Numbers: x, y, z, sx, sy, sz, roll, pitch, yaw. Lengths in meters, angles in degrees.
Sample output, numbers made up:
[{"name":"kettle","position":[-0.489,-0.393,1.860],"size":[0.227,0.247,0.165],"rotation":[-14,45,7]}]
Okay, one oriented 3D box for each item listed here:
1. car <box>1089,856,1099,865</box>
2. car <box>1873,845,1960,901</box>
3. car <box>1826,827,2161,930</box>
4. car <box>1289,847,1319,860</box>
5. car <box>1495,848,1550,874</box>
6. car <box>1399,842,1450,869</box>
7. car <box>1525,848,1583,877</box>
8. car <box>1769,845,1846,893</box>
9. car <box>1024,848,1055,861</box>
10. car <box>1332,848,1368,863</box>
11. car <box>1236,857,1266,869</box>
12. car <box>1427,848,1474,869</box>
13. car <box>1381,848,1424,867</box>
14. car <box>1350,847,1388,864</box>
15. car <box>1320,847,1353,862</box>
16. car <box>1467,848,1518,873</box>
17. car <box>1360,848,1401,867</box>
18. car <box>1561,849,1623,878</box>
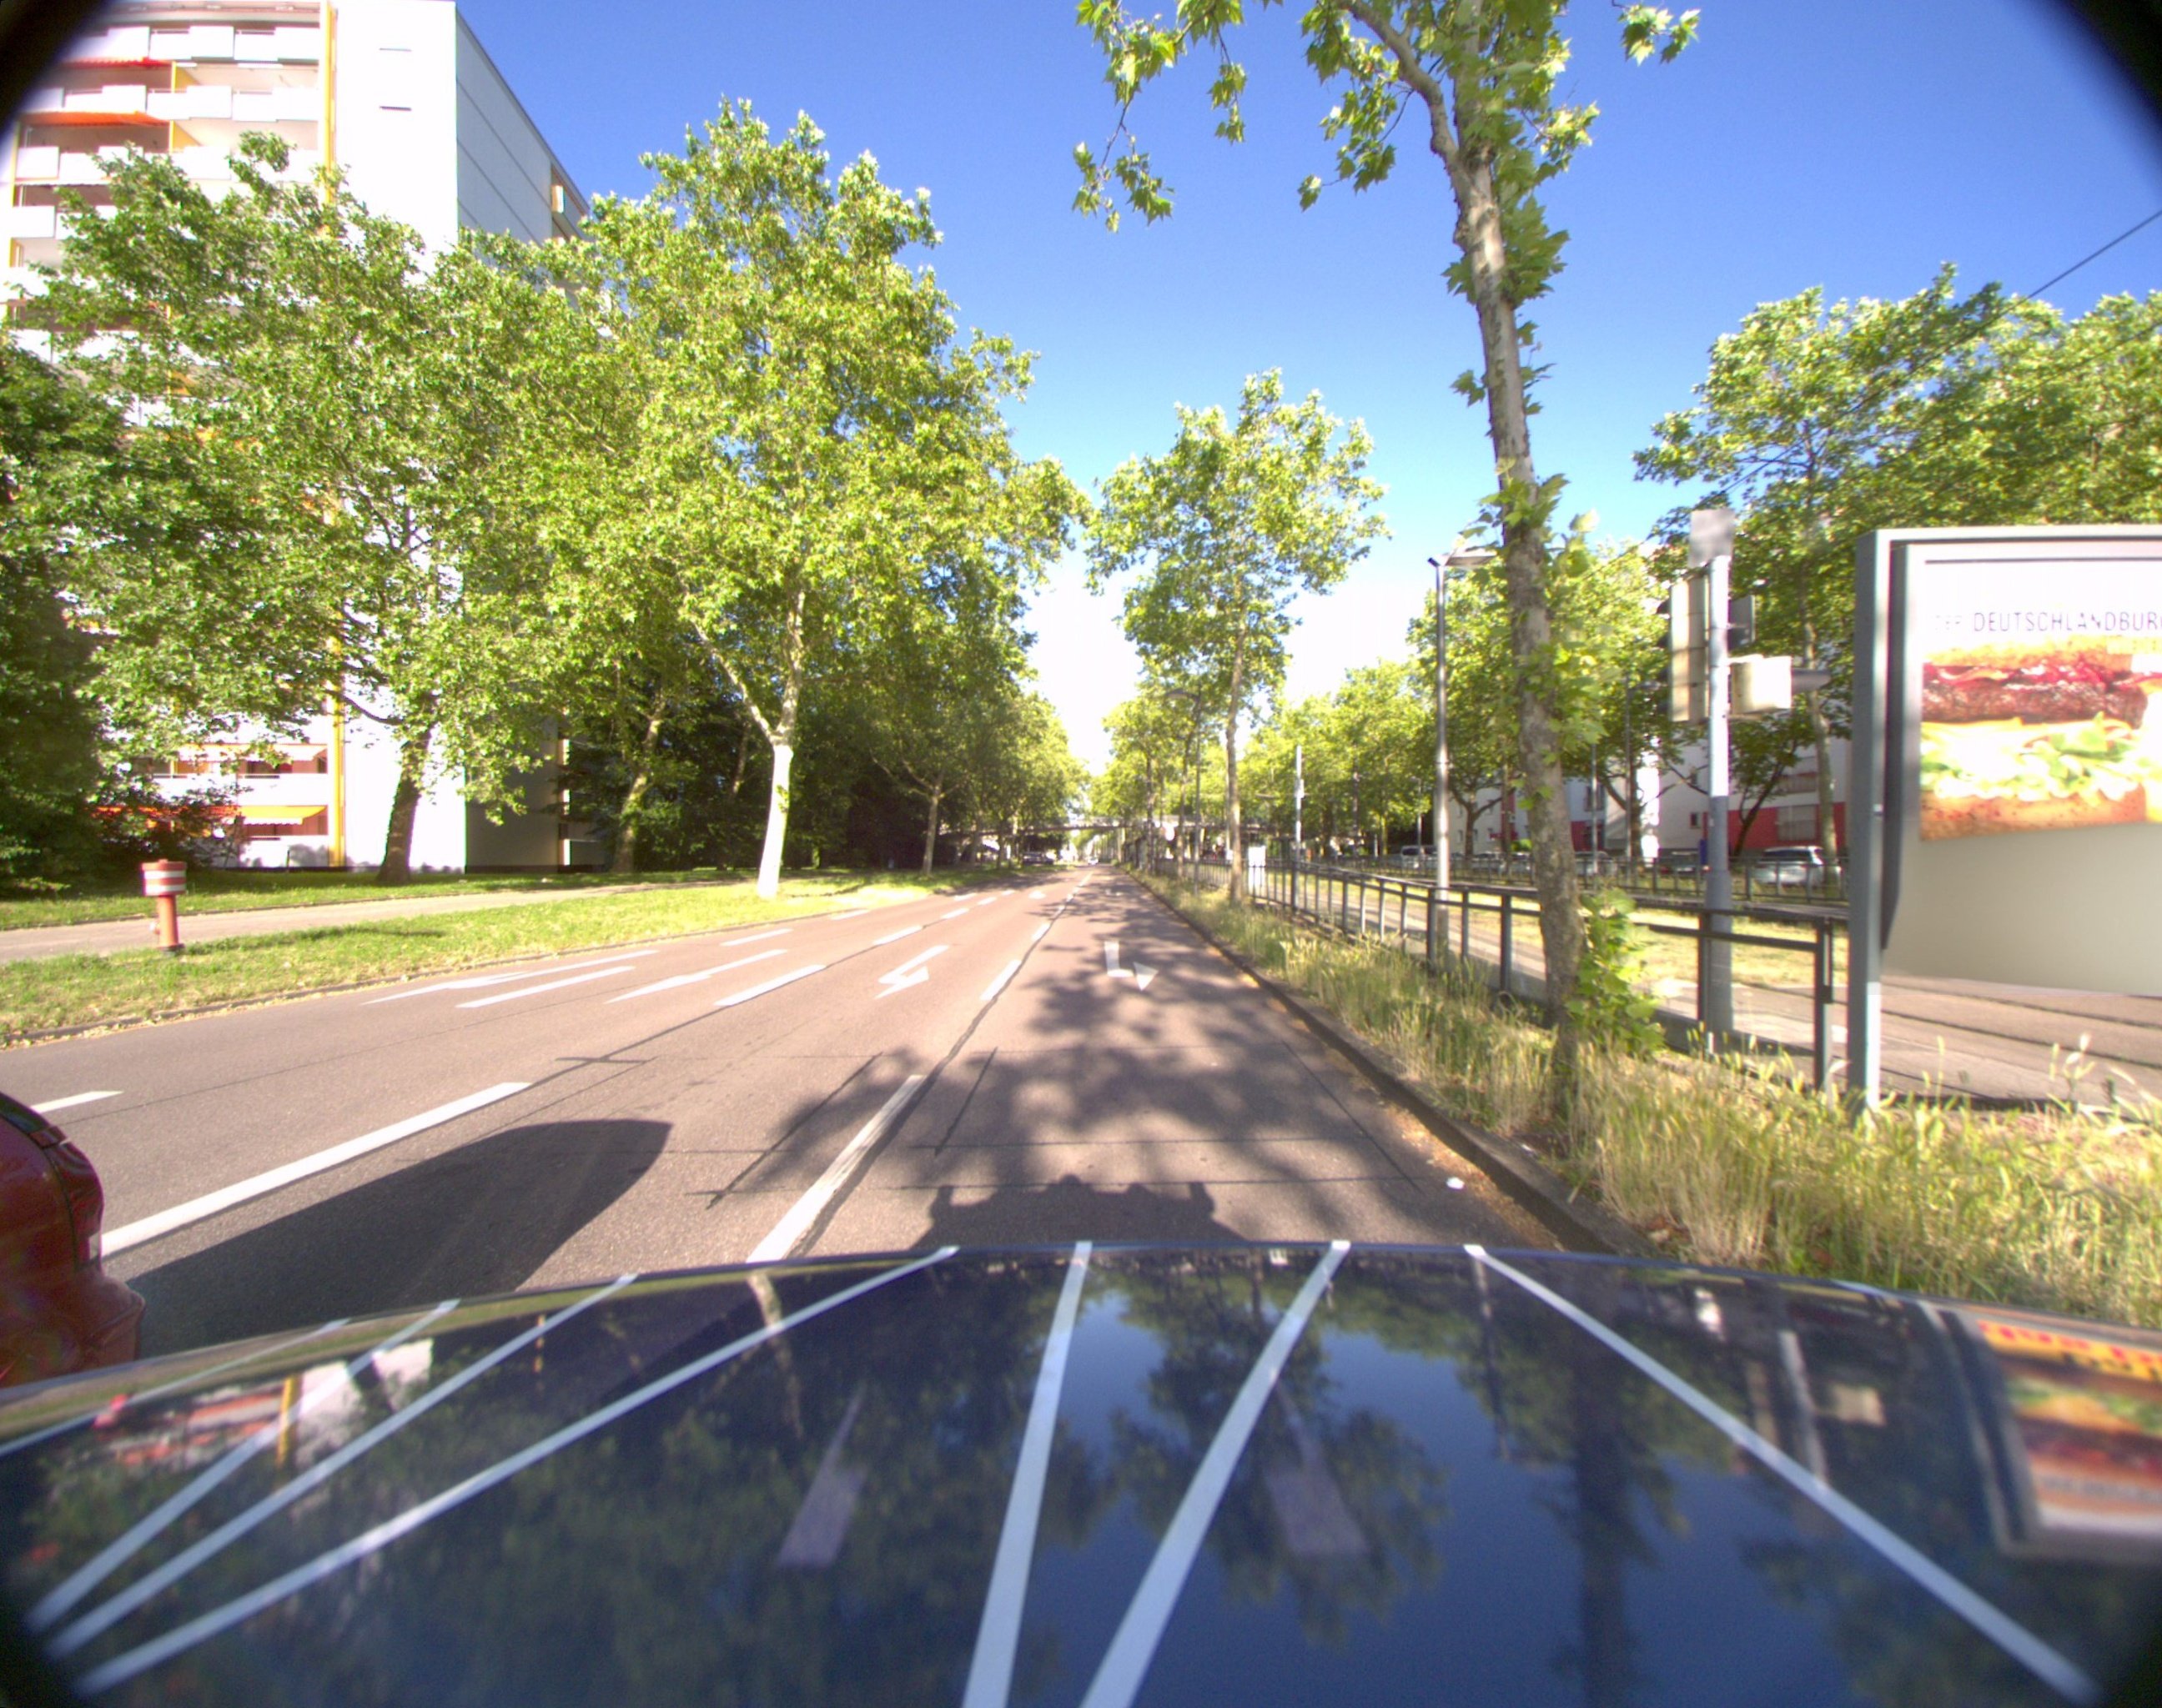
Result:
[{"name":"car","position":[2.216,1.083,128.593],"size":[1.580,1.395,3.638],"rotation":[-2,0,0]},{"name":"car","position":[25.240,0.527,22.969],"size":[3.811,1.501,1.652],"rotation":[-2,0,-42]},{"name":"car","position":[18.945,0.430,15.989],"size":[1.831,1.811,4.903],"rotation":[-2,0,2]},{"name":"car","position":[26.432,-0.041,89.977],"size":[3.811,1.433,1.652],"rotation":[-2,0,-42]},{"name":"car","position":[26.094,0.411,44.867],"size":[3.811,1.433,1.652],"rotation":[-2,0,-42]},{"name":"car","position":[25.813,0.094,57.033],"size":[4.330,1.863,1.836],"rotation":[-2,0,-42]},{"name":"car","position":[25.859,0.447,41.482],"size":[3.811,1.433,1.652],"rotation":[-2,0,-42]},{"name":"car","position":[25.354,0.493,26.478],"size":[3.811,1.501,1.652],"rotation":[-2,0,-42]},{"name":"car","position":[-6.473,0.096,119.162],"size":[4.719,1.924,1.907],"rotation":[-2,0,-5]},{"name":"car","position":[26.059,0.139,73.568],"size":[3.811,1.433,1.652],"rotation":[-2,0,-42]},{"name":"car","position":[22.121,1.142,98.828],"size":[1.658,1.501,4.635],"rotation":[-2,0,-18]},{"name":"car","position":[26.297,0.315,54.035],"size":[3.811,1.433,1.652],"rotation":[-2,0,-42]},{"name":"car","position":[25.724,0.274,60.755],"size":[3.811,1.433,1.652],"rotation":[-2,0,-42]},{"name":"car","position":[26.613,0.141,70.136],"size":[3.811,1.433,1.652],"rotation":[-2,0,-42]},{"name":"car","position":[26.779,0.051,79.628],"size":[3.811,1.433,1.652],"rotation":[-2,0,-42]},{"name":"car","position":[25.846,0.402,47.681],"size":[3.811,1.433,1.652],"rotation":[-2,0,-42]},{"name":"car","position":[24.938,0.277,63.212],"size":[3.811,1.433,1.652],"rotation":[-2,0,-42]},{"name":"car","position":[25.378,0.452,37.700],"size":[3.811,1.348,1.652],"rotation":[-2,0,-42]}]
